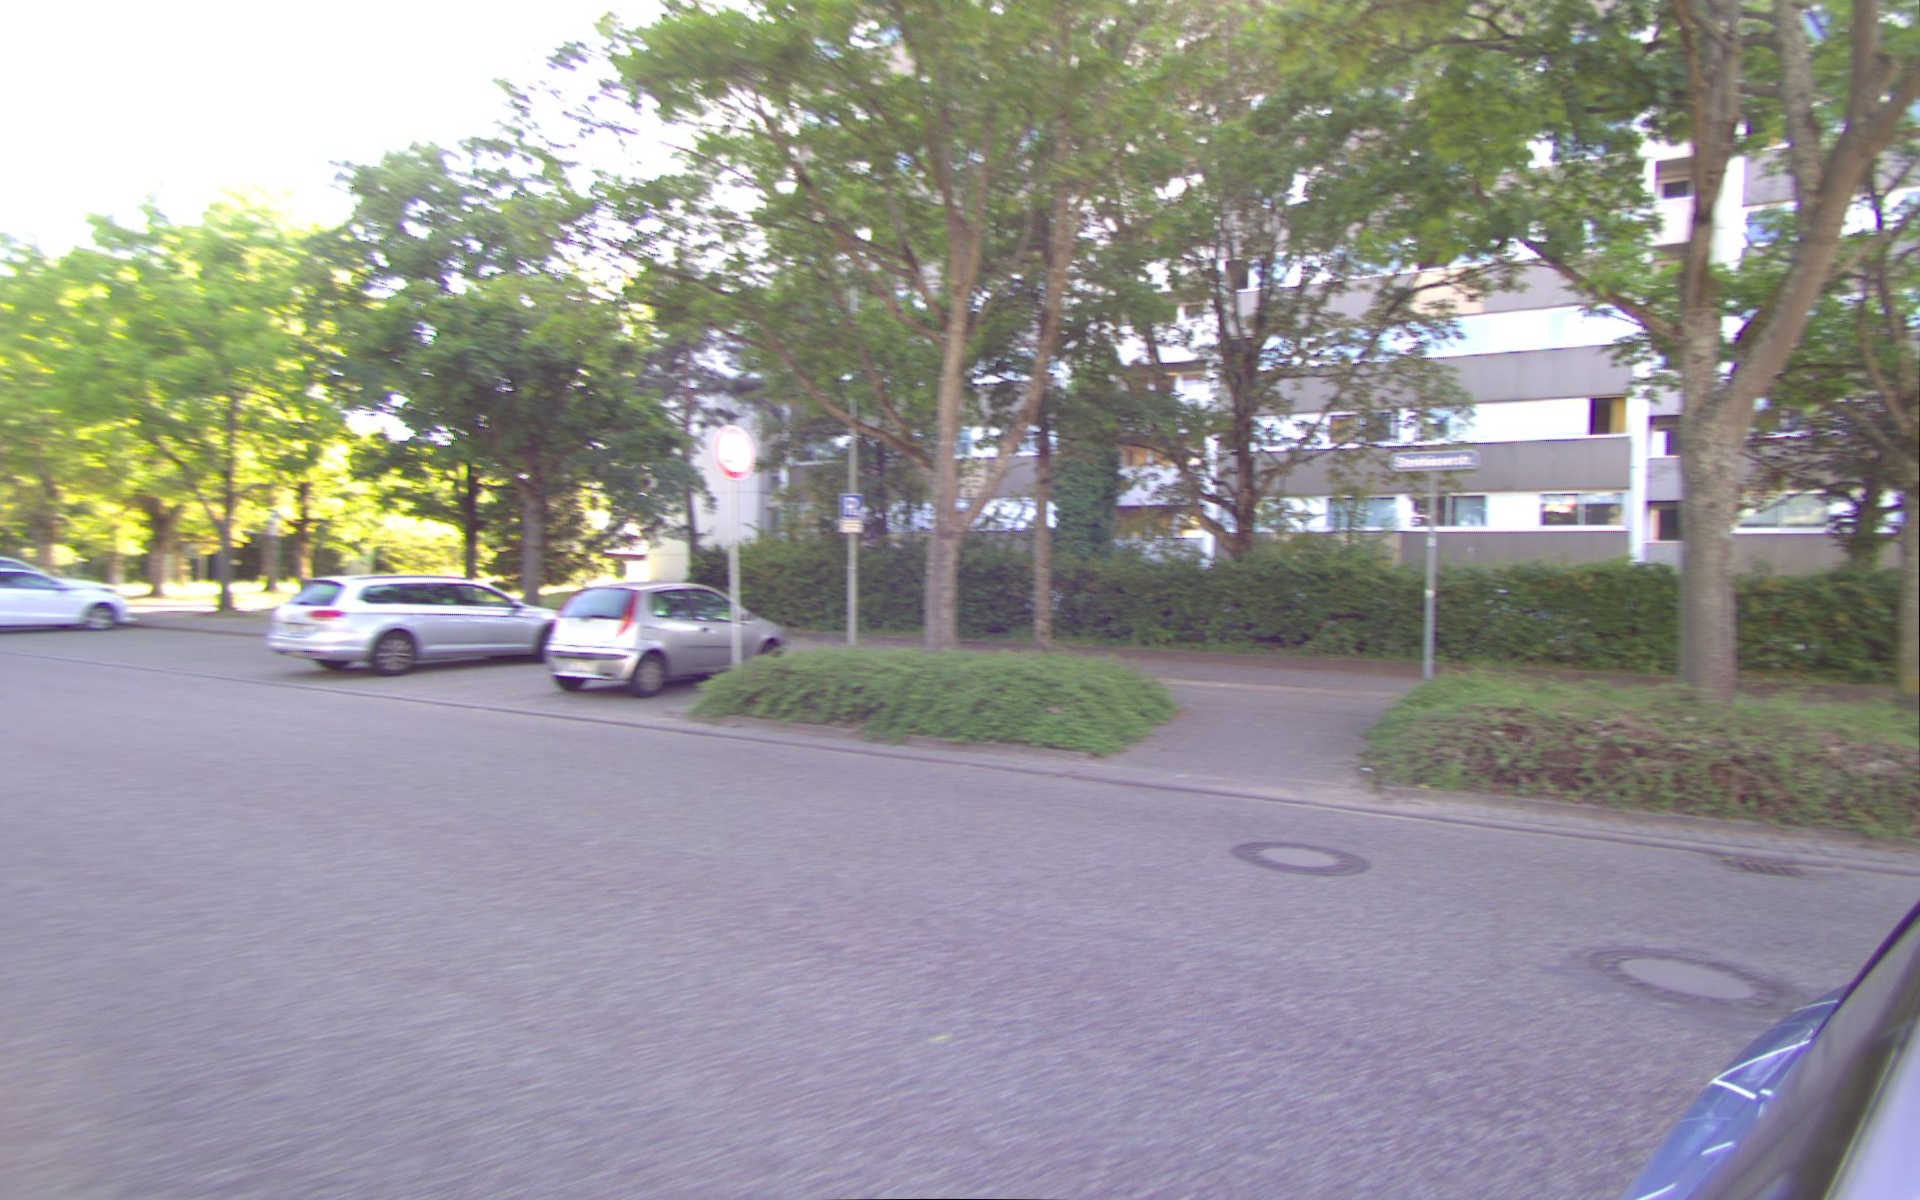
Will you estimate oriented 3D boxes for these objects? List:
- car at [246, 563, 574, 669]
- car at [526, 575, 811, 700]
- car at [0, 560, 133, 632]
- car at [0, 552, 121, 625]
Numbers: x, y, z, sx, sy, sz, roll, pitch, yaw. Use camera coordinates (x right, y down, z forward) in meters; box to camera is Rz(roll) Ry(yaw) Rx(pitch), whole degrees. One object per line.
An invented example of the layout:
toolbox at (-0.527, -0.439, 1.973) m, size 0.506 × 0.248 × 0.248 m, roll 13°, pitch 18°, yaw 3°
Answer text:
car at (-8.515, 0.222, 16.060) m, size 1.813 × 1.446 × 4.240 m, roll 1°, pitch 0°, yaw 31°
car at (-3.977, 0.399, 14.487) m, size 1.701 × 1.469 × 3.963 m, roll 2°, pitch 2°, yaw 27°
car at (-20.949, -0.101, 21.969) m, size 1.720 × 1.507 × 4.321 m, roll 1°, pitch 3°, yaw 25°
car at (-22.948, -0.292, 23.945) m, size 1.797 × 1.667 × 4.413 m, roll 2°, pitch 3°, yaw 25°
